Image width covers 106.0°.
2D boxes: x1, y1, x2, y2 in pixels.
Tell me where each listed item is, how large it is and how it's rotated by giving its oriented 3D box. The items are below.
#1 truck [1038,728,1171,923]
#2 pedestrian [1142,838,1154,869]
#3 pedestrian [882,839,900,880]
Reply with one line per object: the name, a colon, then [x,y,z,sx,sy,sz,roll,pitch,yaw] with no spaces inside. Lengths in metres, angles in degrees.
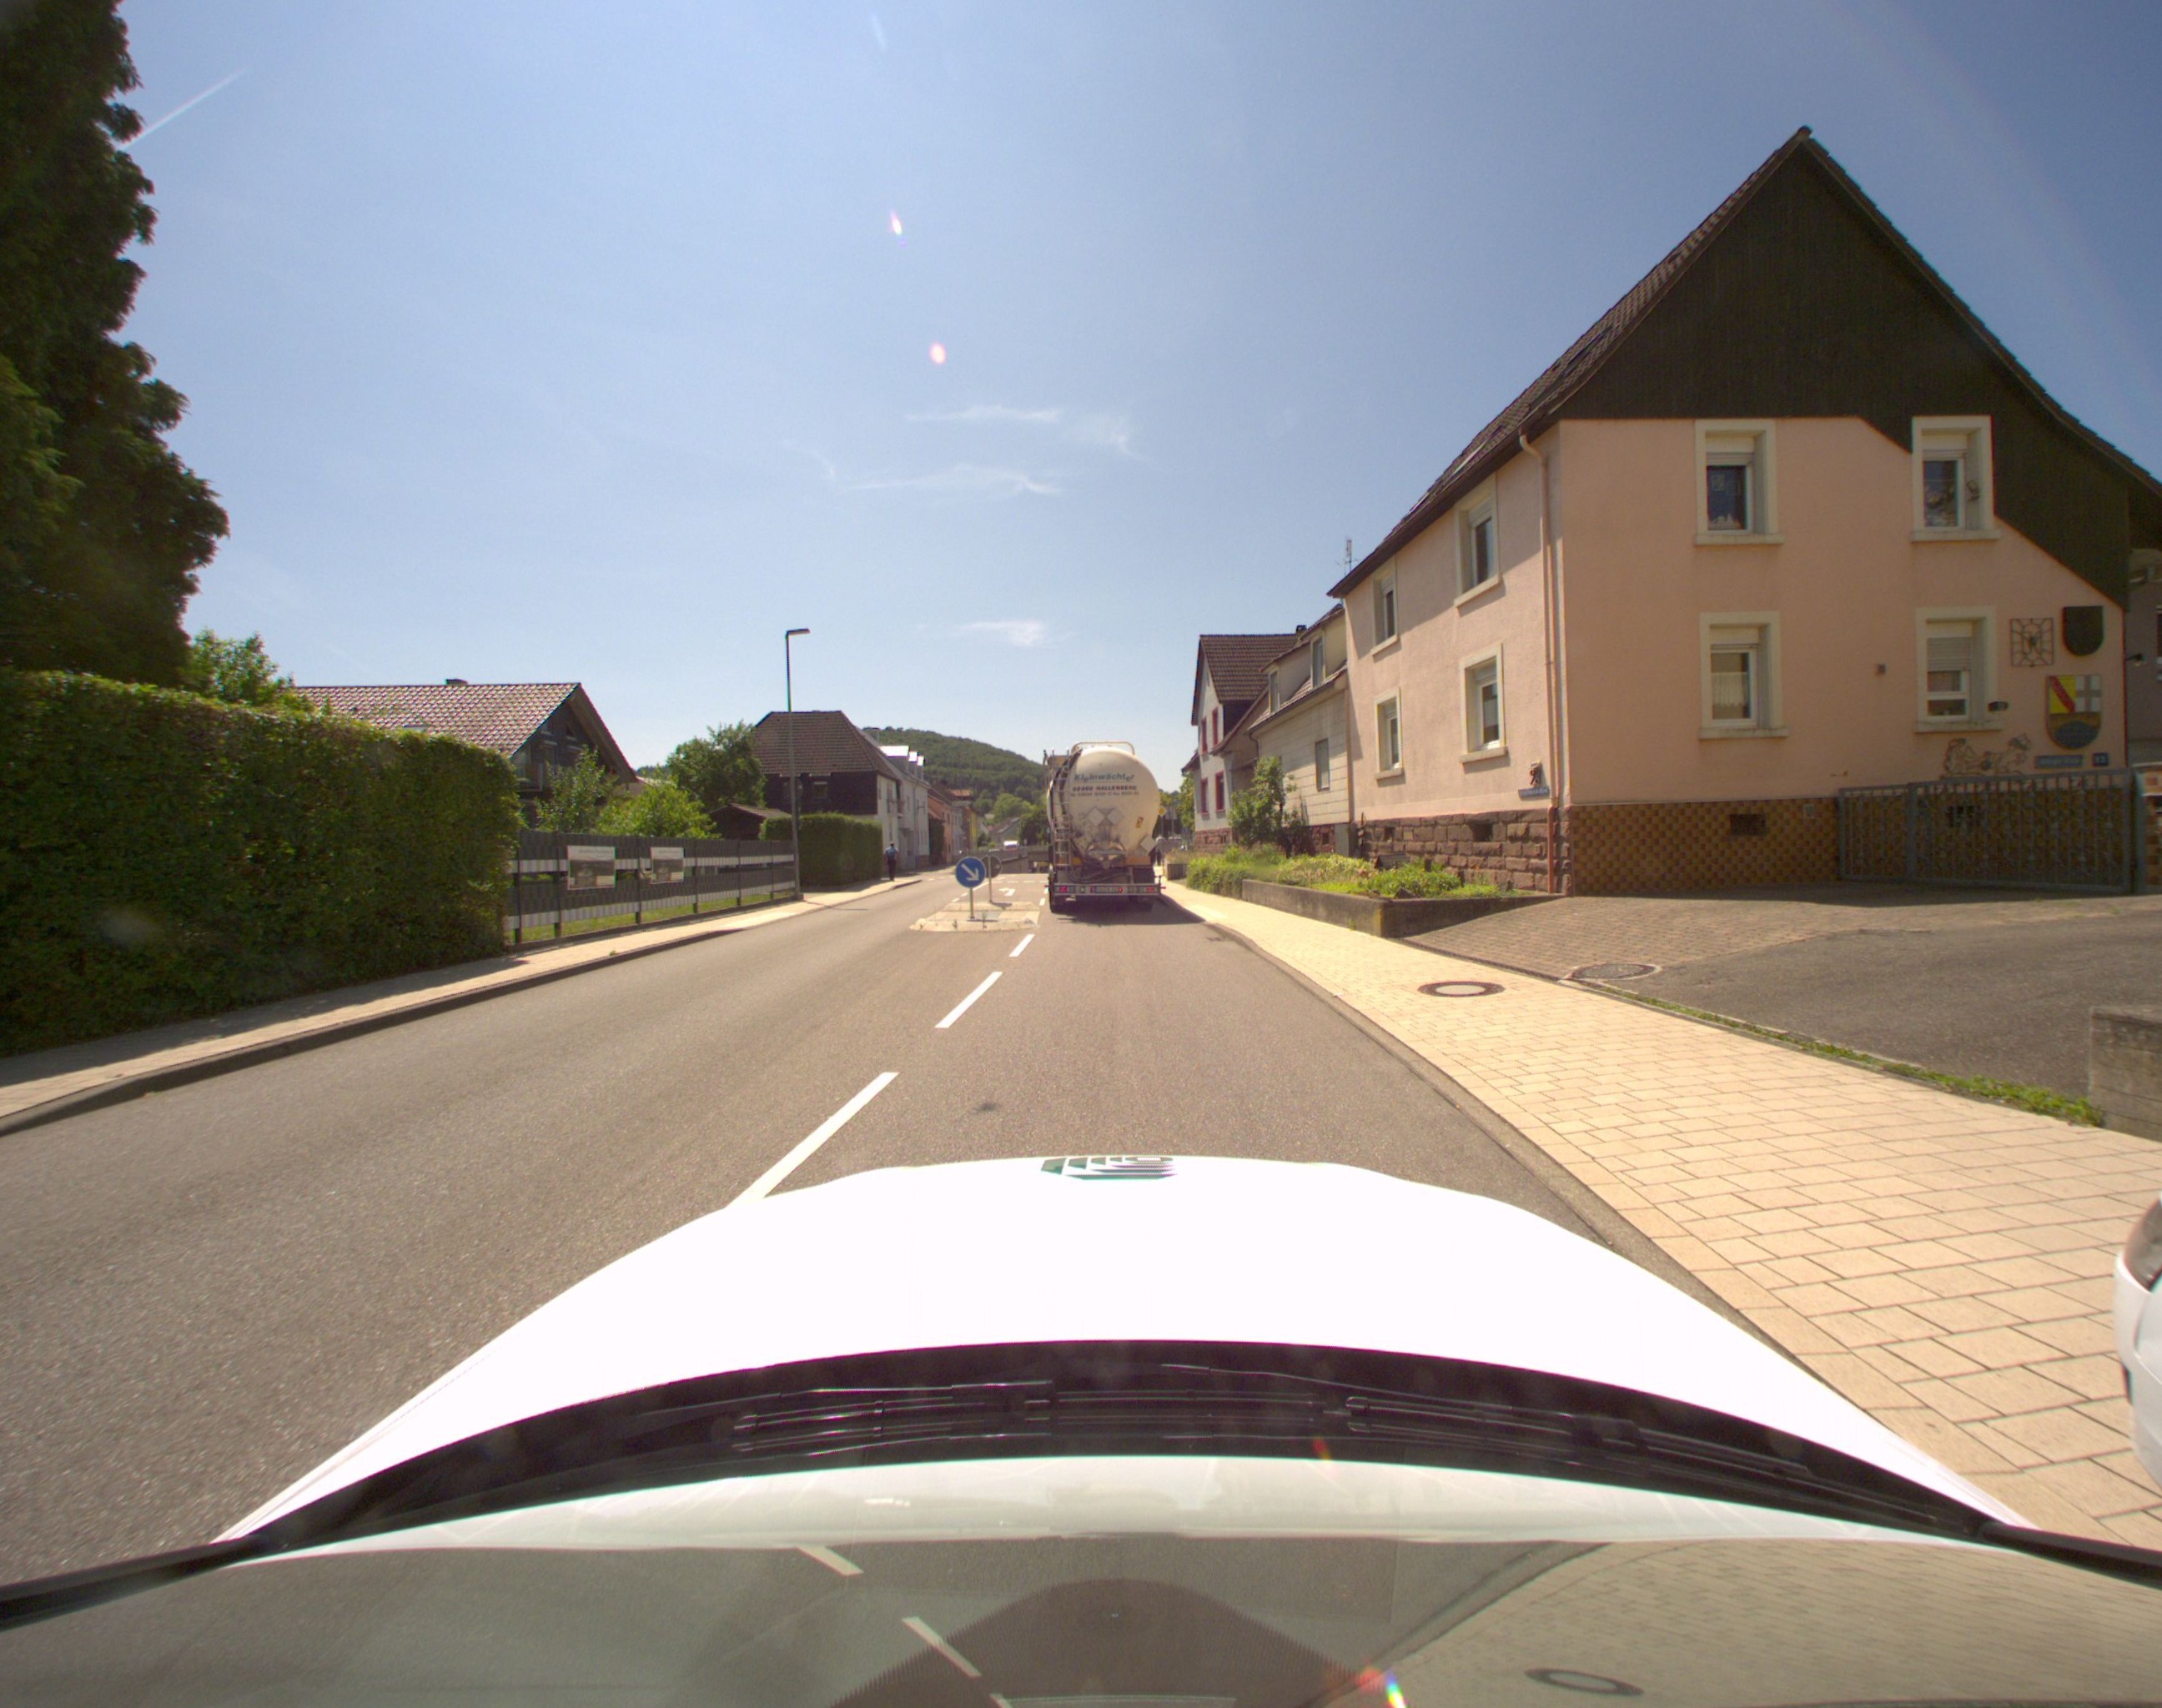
truck: [0.218,-0.651,22.587,2.744,4.056,10.877,-1,0,-3]
pedestrian: [3.610,-0.020,43.984,0.569,1.693,0.721,0,-1,1]
pedestrian: [-8.608,0.246,36.960,0.711,1.823,0.896,0,-1,-7]
